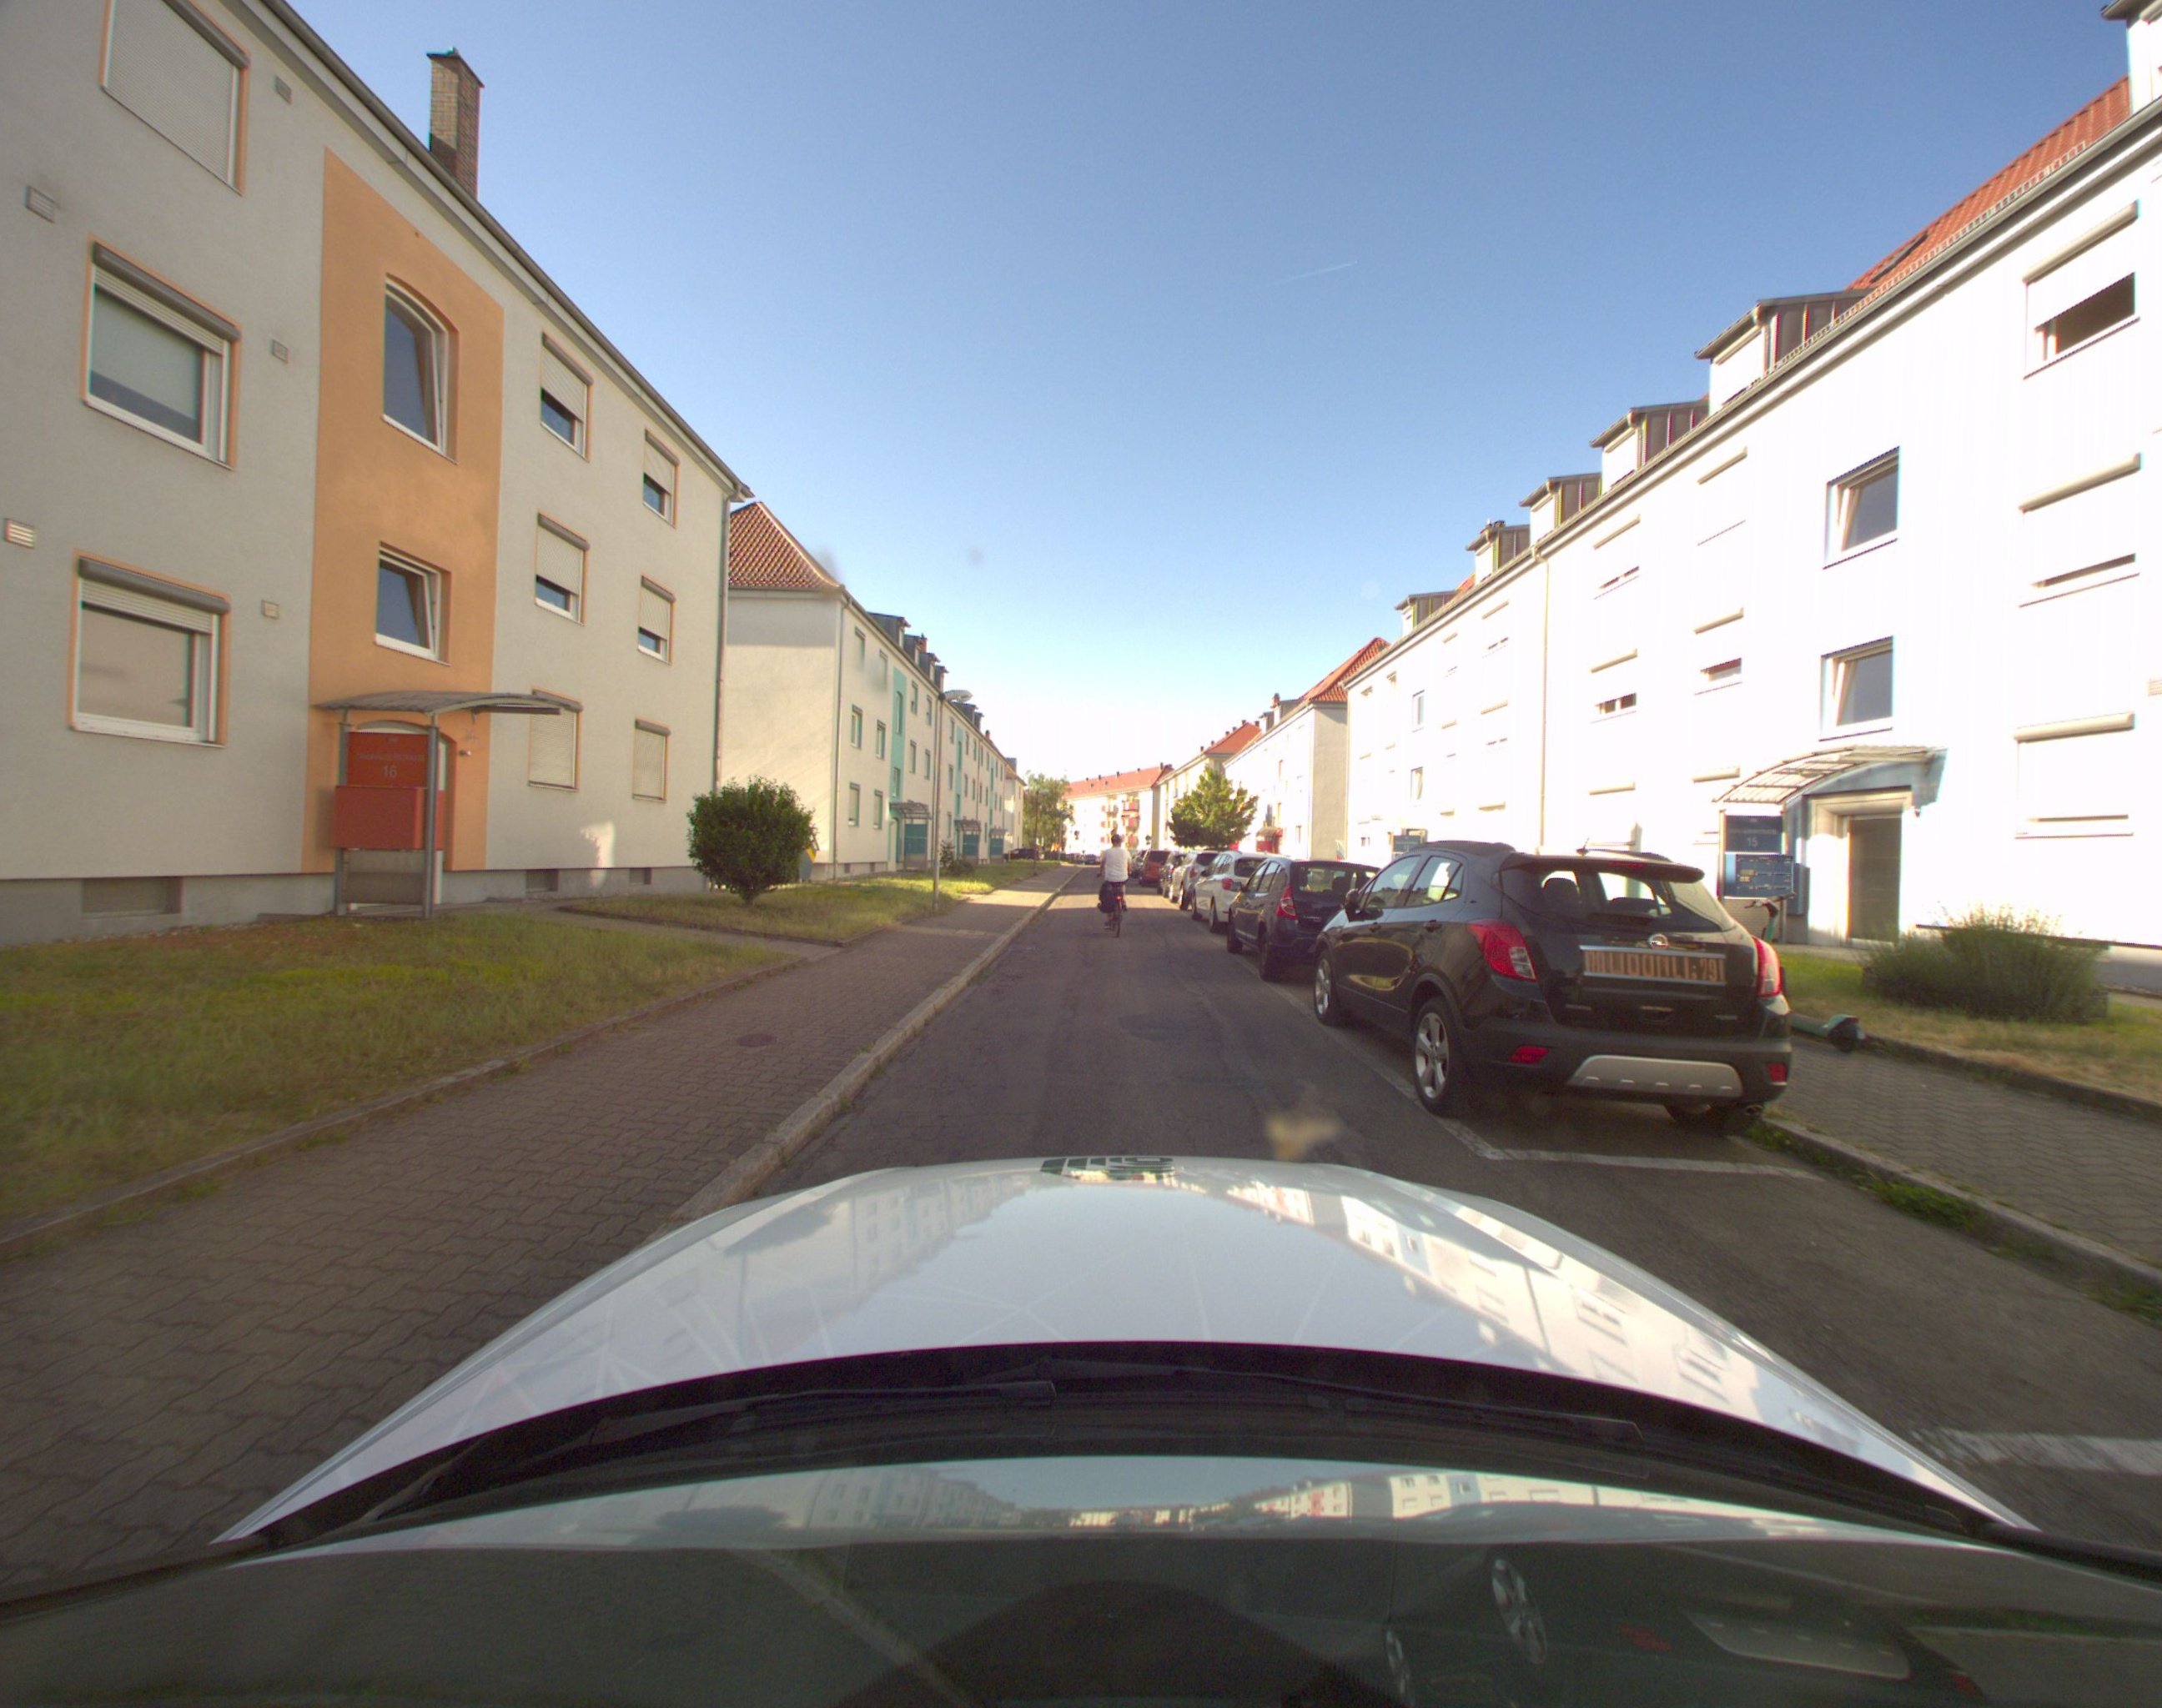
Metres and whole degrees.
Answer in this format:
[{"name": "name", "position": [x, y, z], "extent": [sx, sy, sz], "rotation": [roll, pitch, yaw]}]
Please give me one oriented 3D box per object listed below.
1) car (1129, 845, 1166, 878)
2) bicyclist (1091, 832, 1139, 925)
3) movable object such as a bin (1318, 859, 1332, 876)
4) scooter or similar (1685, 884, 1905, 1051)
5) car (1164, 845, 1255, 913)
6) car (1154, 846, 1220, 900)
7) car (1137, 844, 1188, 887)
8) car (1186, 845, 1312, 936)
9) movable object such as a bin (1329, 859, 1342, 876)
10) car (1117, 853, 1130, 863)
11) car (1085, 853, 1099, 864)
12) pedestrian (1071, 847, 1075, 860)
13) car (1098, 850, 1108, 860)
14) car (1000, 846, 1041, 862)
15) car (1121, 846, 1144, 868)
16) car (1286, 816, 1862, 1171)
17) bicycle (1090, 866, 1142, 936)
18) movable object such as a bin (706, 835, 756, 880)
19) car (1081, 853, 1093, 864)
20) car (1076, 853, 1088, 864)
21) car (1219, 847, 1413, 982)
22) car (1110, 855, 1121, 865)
[{"name": "car", "position": [3.750, 0.382, 46.431], "extent": [1.695, 1.670, 4.379], "rotation": [3, 1, 0]}, {"name": "bicyclist", "position": [0.605, 0.423, 14.830], "extent": [0.806, 1.643, 0.898], "rotation": [0, 0, -1]}, {"name": "movable object such as a bin", "position": [13.115, 0.703, 43.799], "extent": [0.521, 0.886, 0.633], "rotation": [1, 0, 1]}, {"name": "scooter or similar", "position": [5.906, 0.877, 6.862], "extent": [0.482, 1.149, 1.590], "rotation": [-2, 1, 2]}, {"name": "car", "position": [3.505, 0.603, 22.969], "extent": [1.745, 1.617, 4.451], "rotation": [4, 1, -1]}, {"name": "car", "position": [3.575, 0.597, 28.089], "extent": [1.706, 1.595, 4.399], "rotation": [4, 1, 1]}, {"name": "car", "position": [3.499, 0.475, 35.674], "extent": [1.855, 1.668, 4.128], "rotation": [3, 0, 1]}, {"name": "car", "position": [3.323, 0.633, 16.917], "extent": [1.685, 1.575, 4.435], "rotation": [2, 1, 0]}, {"name": "movable object such as a bin", "position": [13.669, 0.700, 43.776], "extent": [0.521, 0.886, 0.633], "rotation": [1, 0, 1]}, {"name": "car", "position": [5.879, 0.507, 112.543], "extent": [1.465, 1.335, 3.140], "rotation": [2, 1, -1]}, {"name": "car", "position": [1.389, 0.528, 103.047], "extent": [1.466, 1.335, 3.137], "rotation": [-2, 0, -3]}, {"name": "pedestrian", "position": [-0.937, -0.034, 99.153], "extent": [0.433, 1.574, 0.543], "rotation": [1, 0, 1]}, {"name": "car", "position": [3.636, 0.208, 132.150], "extent": [1.465, 1.516, 3.076], "rotation": [2, 1, -1]}, {"name": "car", "position": [-6.228, -0.002, 84.385], "extent": [4.221, 1.638, 1.581], "rotation": [1, 0, -3]}, {"name": "car", "position": [4.384, 0.254, 69.940], "extent": [1.669, 1.738, 3.941], "rotation": [2, 1, -1]}, {"name": "car", "position": [2.965, 0.653, 6.214], "extent": [1.776, 1.648, 4.471], "rotation": [3, 1, 2]}, {"name": "bicycle", "position": [0.600, 0.810, 14.779], "extent": [0.806, 1.128, 2.101], "rotation": [0, 0, -1]}, {"name": "movable object such as a bin", "position": [-10.961, 0.105, 25.550], "extent": [1.250, 1.356, 0.903], "rotation": [1, 0, -10]}, {"name": "car", "position": [0.764, 0.531, 107.424], "extent": [1.466, 1.335, 3.138], "rotation": [-2, 1, -3]}, {"name": "car", "position": [0.106, 0.637, 114.098], "extent": [1.465, 1.335, 3.139], "rotation": [-2, 1, -2]}, {"name": "car", "position": [3.017, 0.664, 11.313], "extent": [1.635, 1.498, 4.159], "rotation": [1, 1, 2]}, {"name": "car", "position": [5.095, 0.870, 119.323], "extent": [1.377, 1.497, 3.076], "rotation": [2, 1, -1]}]
